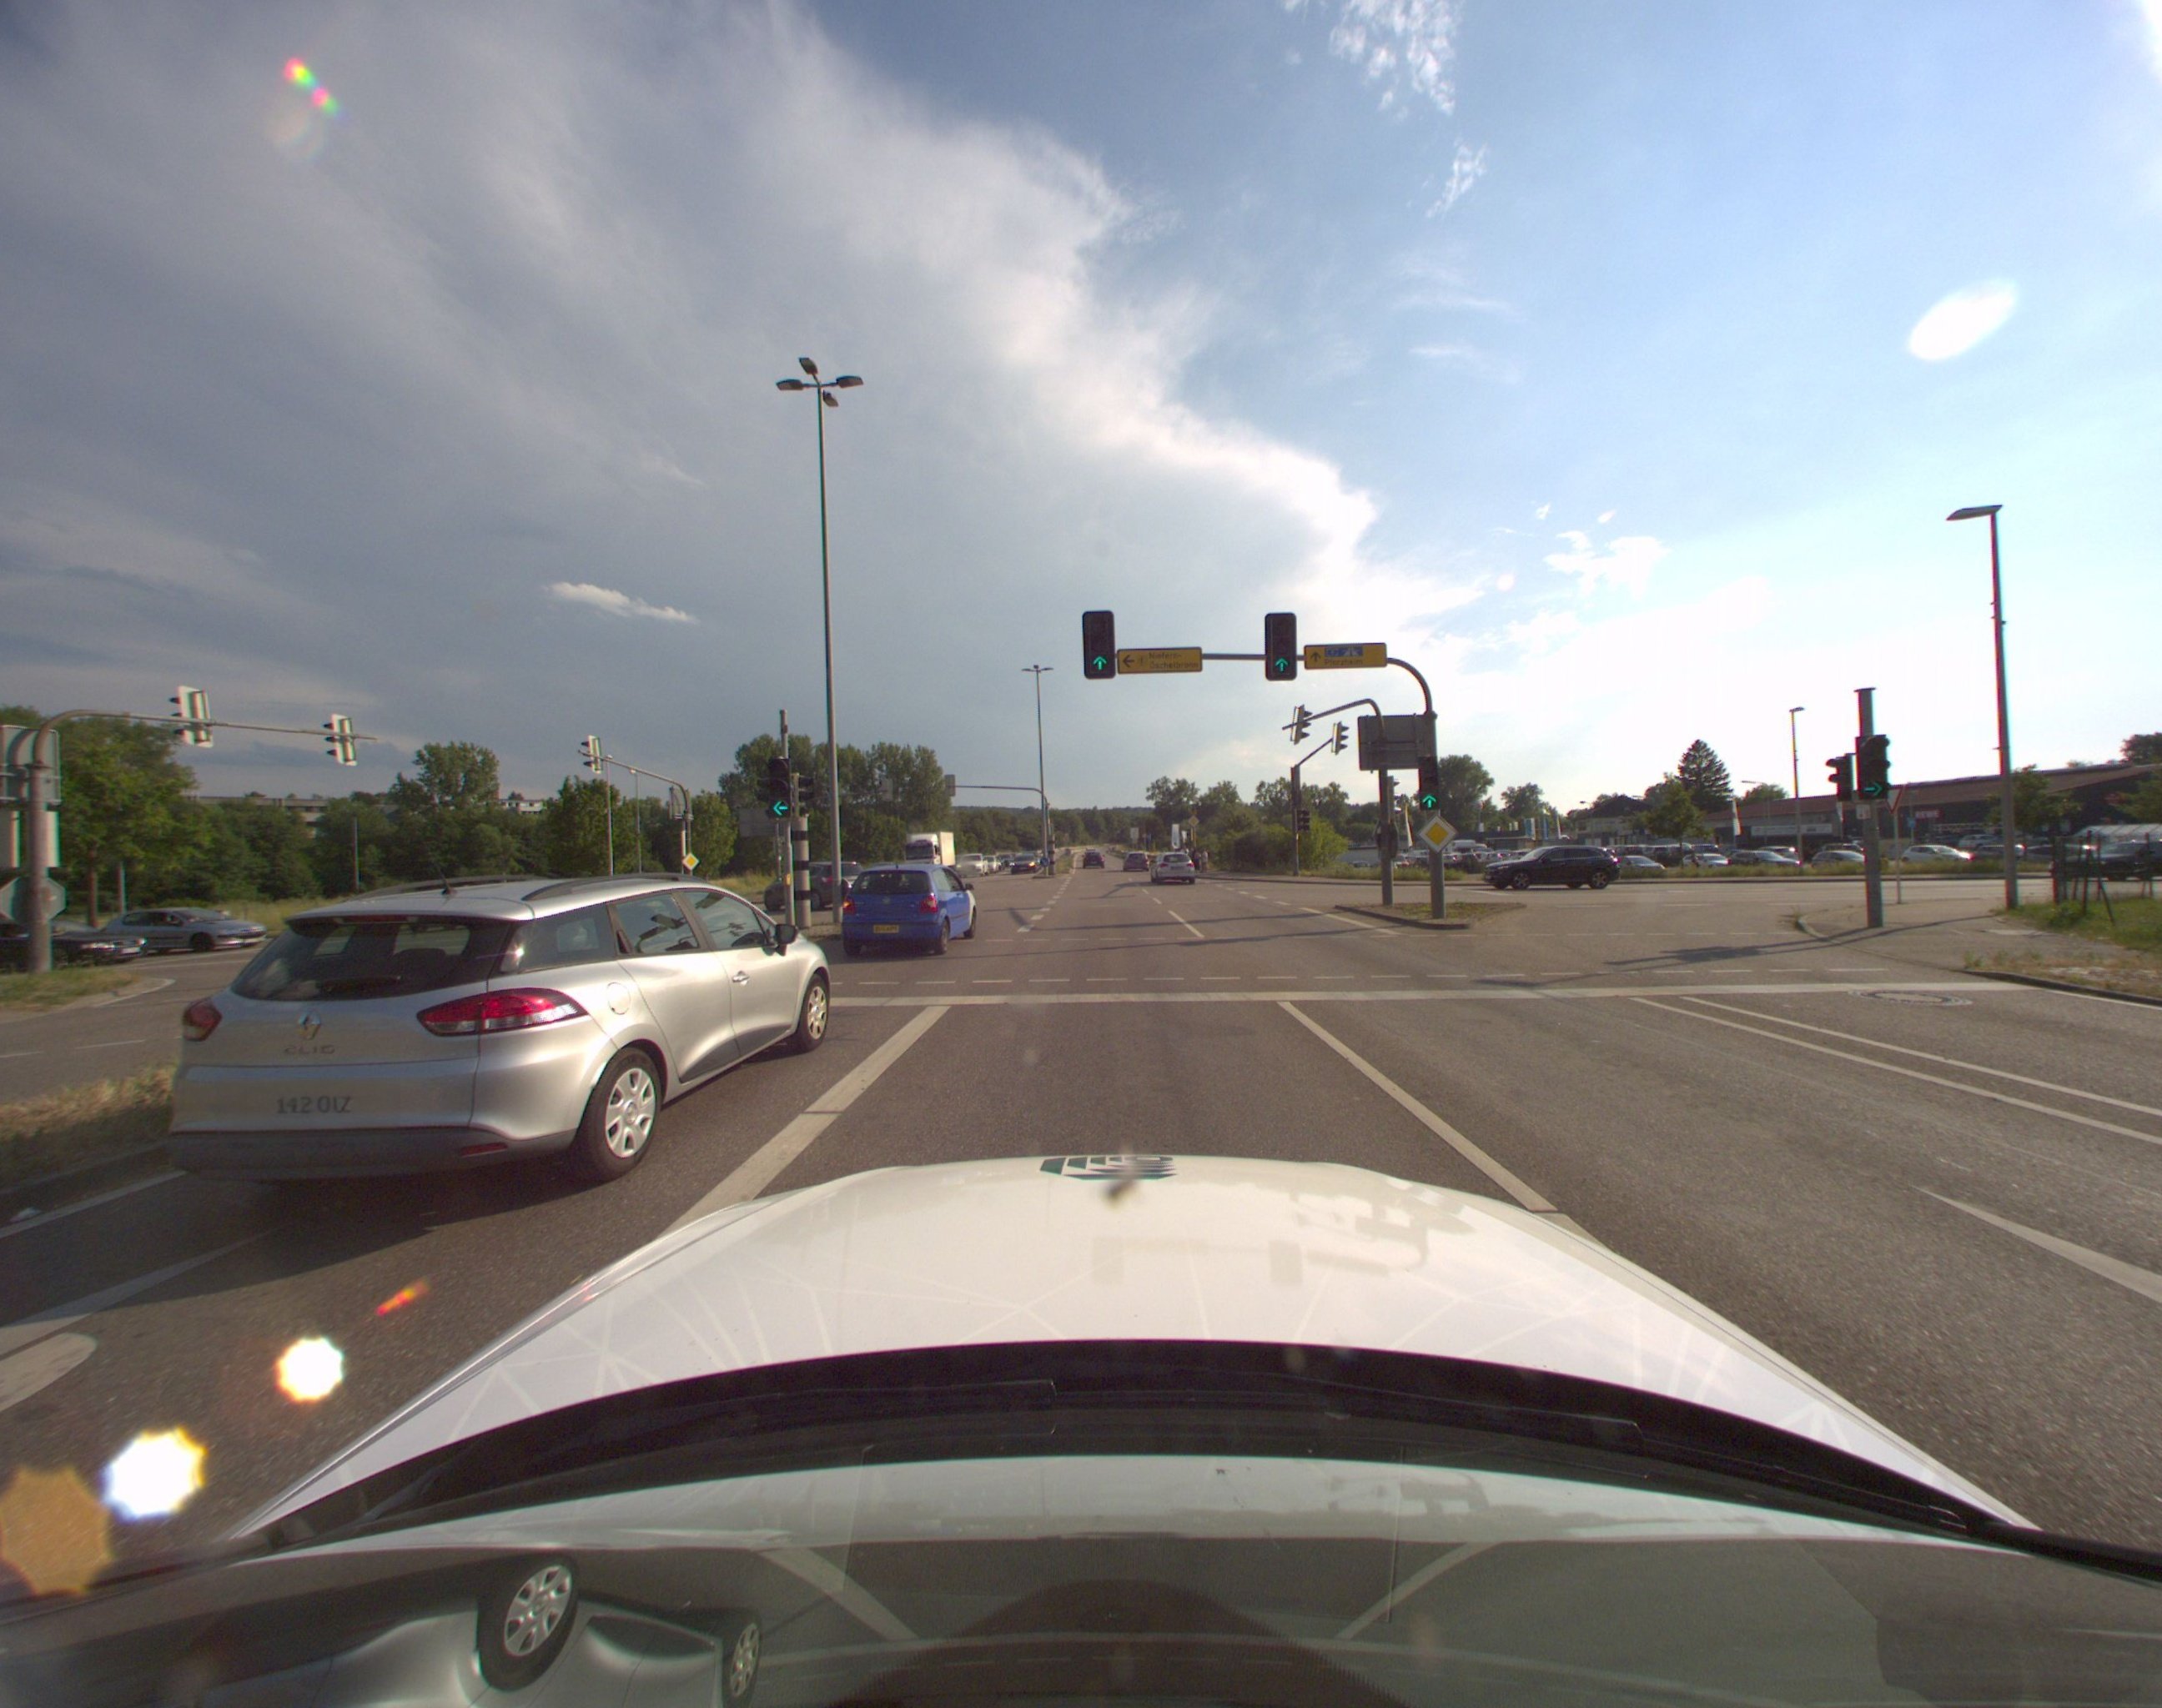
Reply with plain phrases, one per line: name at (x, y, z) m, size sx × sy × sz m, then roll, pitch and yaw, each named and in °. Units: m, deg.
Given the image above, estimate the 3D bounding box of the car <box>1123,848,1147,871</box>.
car at (3.924, 0.401, 59.515) m, size 1.661 × 1.574 × 4.001 m, roll 0°, pitch 0°, yaw 2°

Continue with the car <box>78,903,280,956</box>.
car at (-28.134, 2.315, 25.546) m, size 3.872 × 1.420 × 1.760 m, roll 0°, pitch -1°, yaw -14°

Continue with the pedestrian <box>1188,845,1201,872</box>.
pedestrian at (6.979, 0.295, 49.957) m, size 0.571 × 1.615 × 0.622 m, roll -3°, pitch -1°, yaw -4°

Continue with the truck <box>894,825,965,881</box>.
truck at (-11.277, -0.023, 61.973) m, size 2.922 × 3.690 × 10.502 m, roll -4°, pitch -1°, yaw 1°

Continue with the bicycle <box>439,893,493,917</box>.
bicycle at (-29.155, 2.405, 38.614) m, size 0.700 × 1.039 × 1.947 m, roll -1°, pitch -1°, yaw 44°

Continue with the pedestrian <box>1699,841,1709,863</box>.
pedestrian at (40.043, -0.129, 52.360) m, size 0.375 × 1.459 × 0.571 m, roll -1°, pitch -1°, yaw 26°

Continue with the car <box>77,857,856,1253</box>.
car at (-2.972, 0.791, 5.262) m, size 1.751 × 1.477 × 4.191 m, roll -1°, pitch 0°, yaw 1°

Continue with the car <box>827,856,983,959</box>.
car at (-2.889, 0.820, 14.215) m, size 1.680 × 1.500 × 3.895 m, roll -2°, pitch -1°, yaw 2°

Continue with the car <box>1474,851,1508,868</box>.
car at (39.246, 0.548, 78.022) m, size 1.604 × 1.624 × 3.350 m, roll 0°, pitch -1°, yaw 2°

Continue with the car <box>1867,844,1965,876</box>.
car at (45.201, 0.320, 44.192) m, size 1.587 × 1.629 × 3.760 m, roll 0°, pitch -1°, yaw 2°

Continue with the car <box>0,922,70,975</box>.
car at (-33.640, 2.862, 24.403) m, size 3.872 × 1.420 × 1.760 m, roll 0°, pitch -1°, yaw -14°

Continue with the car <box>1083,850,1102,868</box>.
car at (0.993, 0.410, 67.595) m, size 1.487 × 1.476 × 3.360 m, roll 0°, pitch -1°, yaw 2°

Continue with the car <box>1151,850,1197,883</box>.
car at (4.405, 0.575, 38.919) m, size 1.803 × 1.486 × 4.000 m, roll 0°, pitch -1°, yaw 1°

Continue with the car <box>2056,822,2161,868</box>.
car at (38.173, -0.322, 29.191) m, size 3.961 × 1.596 × 1.699 m, roll -1°, pitch -1°, yaw 11°

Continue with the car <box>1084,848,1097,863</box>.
car at (1.153, 0.239, 100.252) m, size 1.532 × 1.794 × 3.505 m, roll 0°, pitch -1°, yaw 0°

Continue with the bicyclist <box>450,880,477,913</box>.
bicyclist at (-29.230, 2.010, 38.557) m, size 0.715 × 1.501 × 0.926 m, roll -1°, pitch -1°, yaw 44°

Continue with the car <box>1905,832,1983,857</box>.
car at (63.077, -0.671, 59.621) m, size 1.792 × 1.750 × 3.759 m, roll 0°, pitch -1°, yaw 2°

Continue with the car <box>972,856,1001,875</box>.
car at (-7.605, 0.884, 65.687) m, size 1.697 × 1.405 × 5.080 m, roll -3°, pitch 0°, yaw 0°

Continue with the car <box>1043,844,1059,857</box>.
car at (-3.840, -0.391, 104.771) m, size 1.775 × 1.520 × 4.000 m, roll -3°, pitch -1°, yaw 0°

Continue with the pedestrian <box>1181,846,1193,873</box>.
pedestrian at (6.841, 0.336, 52.535) m, size 0.593 × 1.683 × 0.633 m, roll -4°, pitch -1°, yaw 0°

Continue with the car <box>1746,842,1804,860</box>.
car at (60.722, -0.264, 71.307) m, size 1.719 × 1.508 × 4.000 m, roll 0°, pitch -1°, yaw 1°

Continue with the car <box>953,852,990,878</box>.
car at (-7.818, 0.797, 58.534) m, size 1.987 × 1.678 × 4.806 m, roll -3°, pitch 0°, yaw 0°

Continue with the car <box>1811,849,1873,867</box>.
car at (65.552, 0.293, 70.234) m, size 1.719 × 1.508 × 4.001 m, roll 0°, pitch 0°, yaw 1°

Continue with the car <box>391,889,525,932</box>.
car at (-24.243, 2.183, 31.787) m, size 3.731 × 1.368 × 1.765 m, roll -3°, pitch 0°, yaw -5°

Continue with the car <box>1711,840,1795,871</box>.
car at (36.682, 0.080, 44.598) m, size 1.587 × 1.629 × 3.760 m, roll 0°, pitch -1°, yaw 2°

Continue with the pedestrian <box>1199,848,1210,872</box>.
pedestrian at (7.595, 0.340, 50.000) m, size 0.571 × 1.457 × 0.622 m, roll 0°, pitch -1°, yaw -4°

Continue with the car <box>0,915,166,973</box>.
car at (-27.957, 2.437, 22.098) m, size 3.872 × 1.360 × 1.628 m, roll 0°, pitch -1°, yaw -14°

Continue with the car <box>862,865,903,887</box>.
car at (-14.376, 1.563, 59.224) m, size 1.807 × 1.376 × 4.001 m, roll -4°, pitch -1°, yaw 1°

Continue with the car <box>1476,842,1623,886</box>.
car at (17.746, 0.364, 31.014) m, size 4.435 × 1.585 × 2.002 m, roll 0°, pitch -1°, yaw 4°

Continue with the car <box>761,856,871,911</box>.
car at (-9.251, 1.057, 28.283) m, size 1.937 × 1.691 × 4.105 m, roll -2°, pitch -2°, yaw -44°

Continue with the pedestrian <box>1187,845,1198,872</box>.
pedestrian at (6.939, 0.301, 50.692) m, size 0.571 × 1.678 × 0.622 m, roll 0°, pitch -1°, yaw -4°

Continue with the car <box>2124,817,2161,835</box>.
car at (99.836, -2.620, 74.952) m, size 1.826 × 1.588 × 4.584 m, roll -3°, pitch 0°, yaw 0°

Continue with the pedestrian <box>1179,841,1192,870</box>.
pedestrian at (6.826, 0.098, 53.304) m, size 0.617 × 1.883 × 0.861 m, roll -3°, pitch -1°, yaw -1°

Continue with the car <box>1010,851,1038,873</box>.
car at (-4.160, 0.606, 60.069) m, size 1.785 × 1.466 × 4.926 m, roll -2°, pitch 0°, yaw -1°

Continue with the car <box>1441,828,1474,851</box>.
car at (44.581, -1.649, 96.504) m, size 1.747 × 2.549 × 5.476 m, roll 0°, pitch -1°, yaw 4°

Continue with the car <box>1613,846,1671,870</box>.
car at (39.251, 0.271, 57.068) m, size 1.587 × 1.629 × 3.760 m, roll 0°, pitch -1°, yaw 2°

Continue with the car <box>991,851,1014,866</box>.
car at (-7.739, 0.443, 80.416) m, size 1.774 × 1.354 × 4.000 m, roll 0°, pitch 0°, yaw 0°

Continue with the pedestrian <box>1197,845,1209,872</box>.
pedestrian at (7.604, 0.256, 50.742) m, size 0.571 × 1.678 × 0.622 m, roll 0°, pitch -1°, yaw -4°
